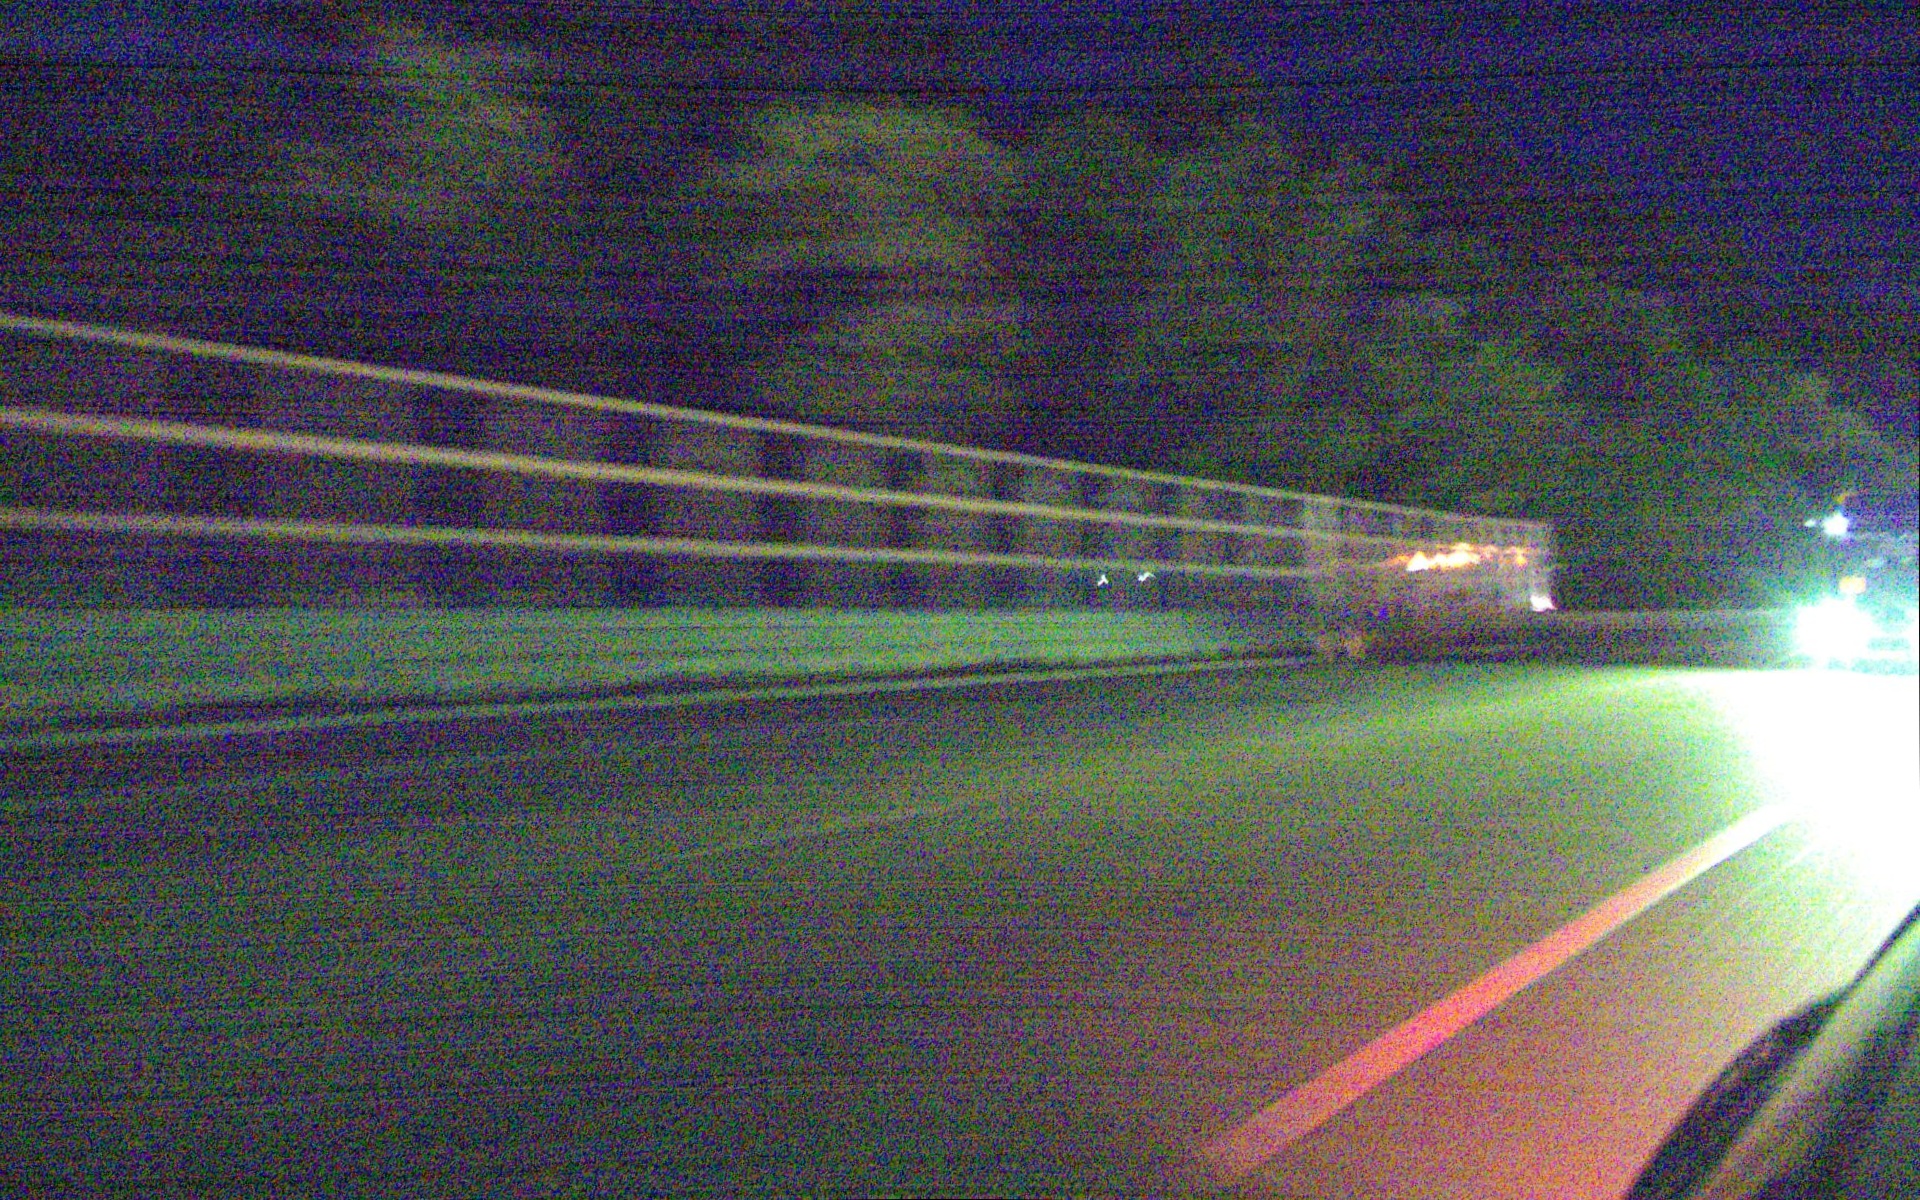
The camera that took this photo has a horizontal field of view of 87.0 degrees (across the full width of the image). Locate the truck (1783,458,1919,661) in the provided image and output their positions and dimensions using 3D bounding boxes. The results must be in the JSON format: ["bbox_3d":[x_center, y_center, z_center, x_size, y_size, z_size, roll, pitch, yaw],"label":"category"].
[{"bbox_3d":[26.666,-0.846,26.936,18.367,4.187,3.491,0,0,-38],"label":"truck"}]
